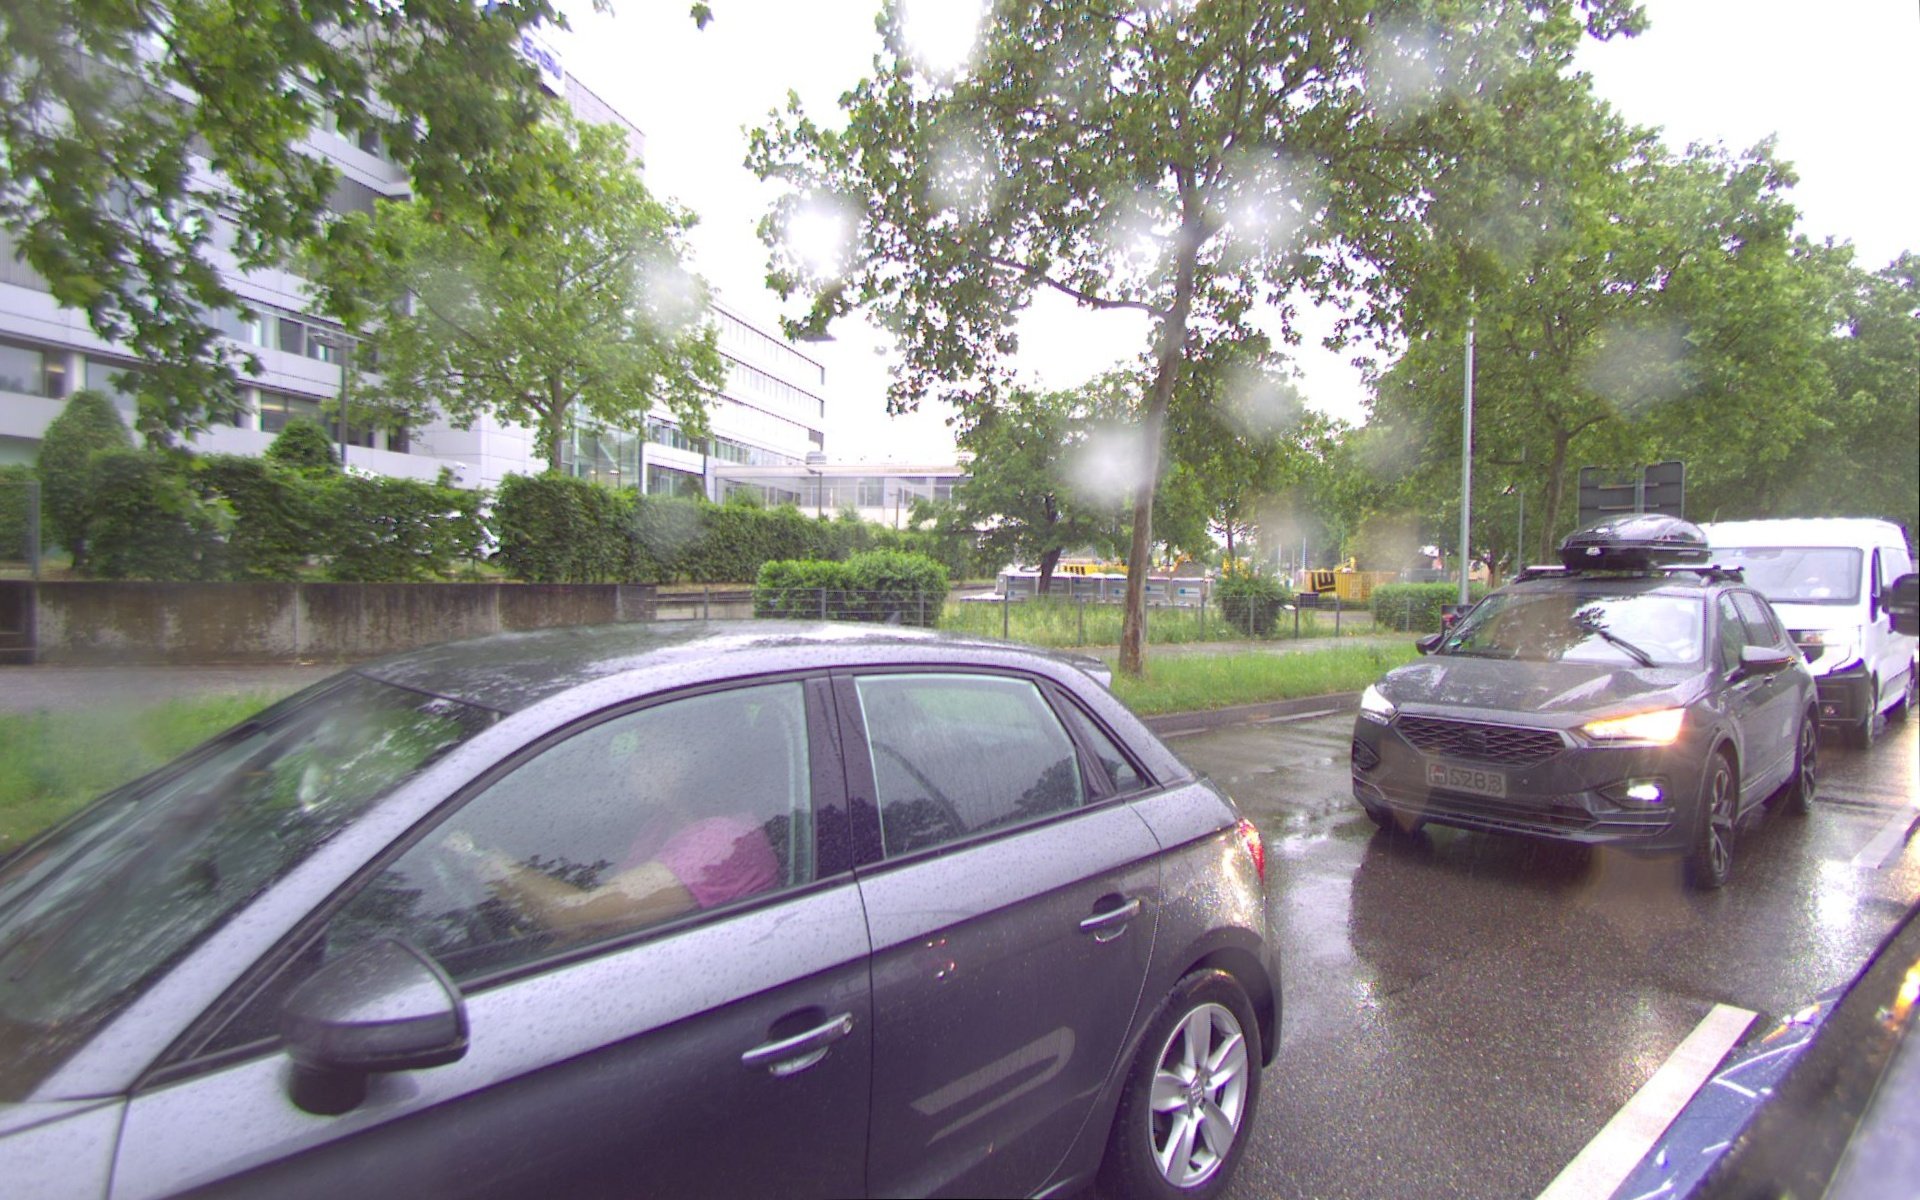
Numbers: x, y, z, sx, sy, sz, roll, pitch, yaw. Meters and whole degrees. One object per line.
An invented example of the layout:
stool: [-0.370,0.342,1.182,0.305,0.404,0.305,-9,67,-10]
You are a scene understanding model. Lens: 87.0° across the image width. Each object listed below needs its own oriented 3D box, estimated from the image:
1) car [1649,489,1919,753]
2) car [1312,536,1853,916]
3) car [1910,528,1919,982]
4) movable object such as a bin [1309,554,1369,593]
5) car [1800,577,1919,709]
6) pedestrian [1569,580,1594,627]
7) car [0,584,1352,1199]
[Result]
car: [9.989,0.169,11.953,5.227,2.476,1.892,0,1,-43]
car: [4.336,0.544,6.732,4.347,1.719,1.892,0,1,-42]
car: [6.319,0.179,4.952,5.599,2.544,2.024,0,1,-43]
movable object such as a bin: [35.393,-2.445,94.693,1.888,3.478,4.923,0,0,-45]
car: [15.465,0.619,16.746,4.470,1.937,1.805,0,1,-43]
pedestrian: [23.348,0.110,38.014,0.645,1.738,0.645,0,0,-40]
car: [-0.885,0.702,2.160,3.715,1.446,1.679,0,1,-41]
